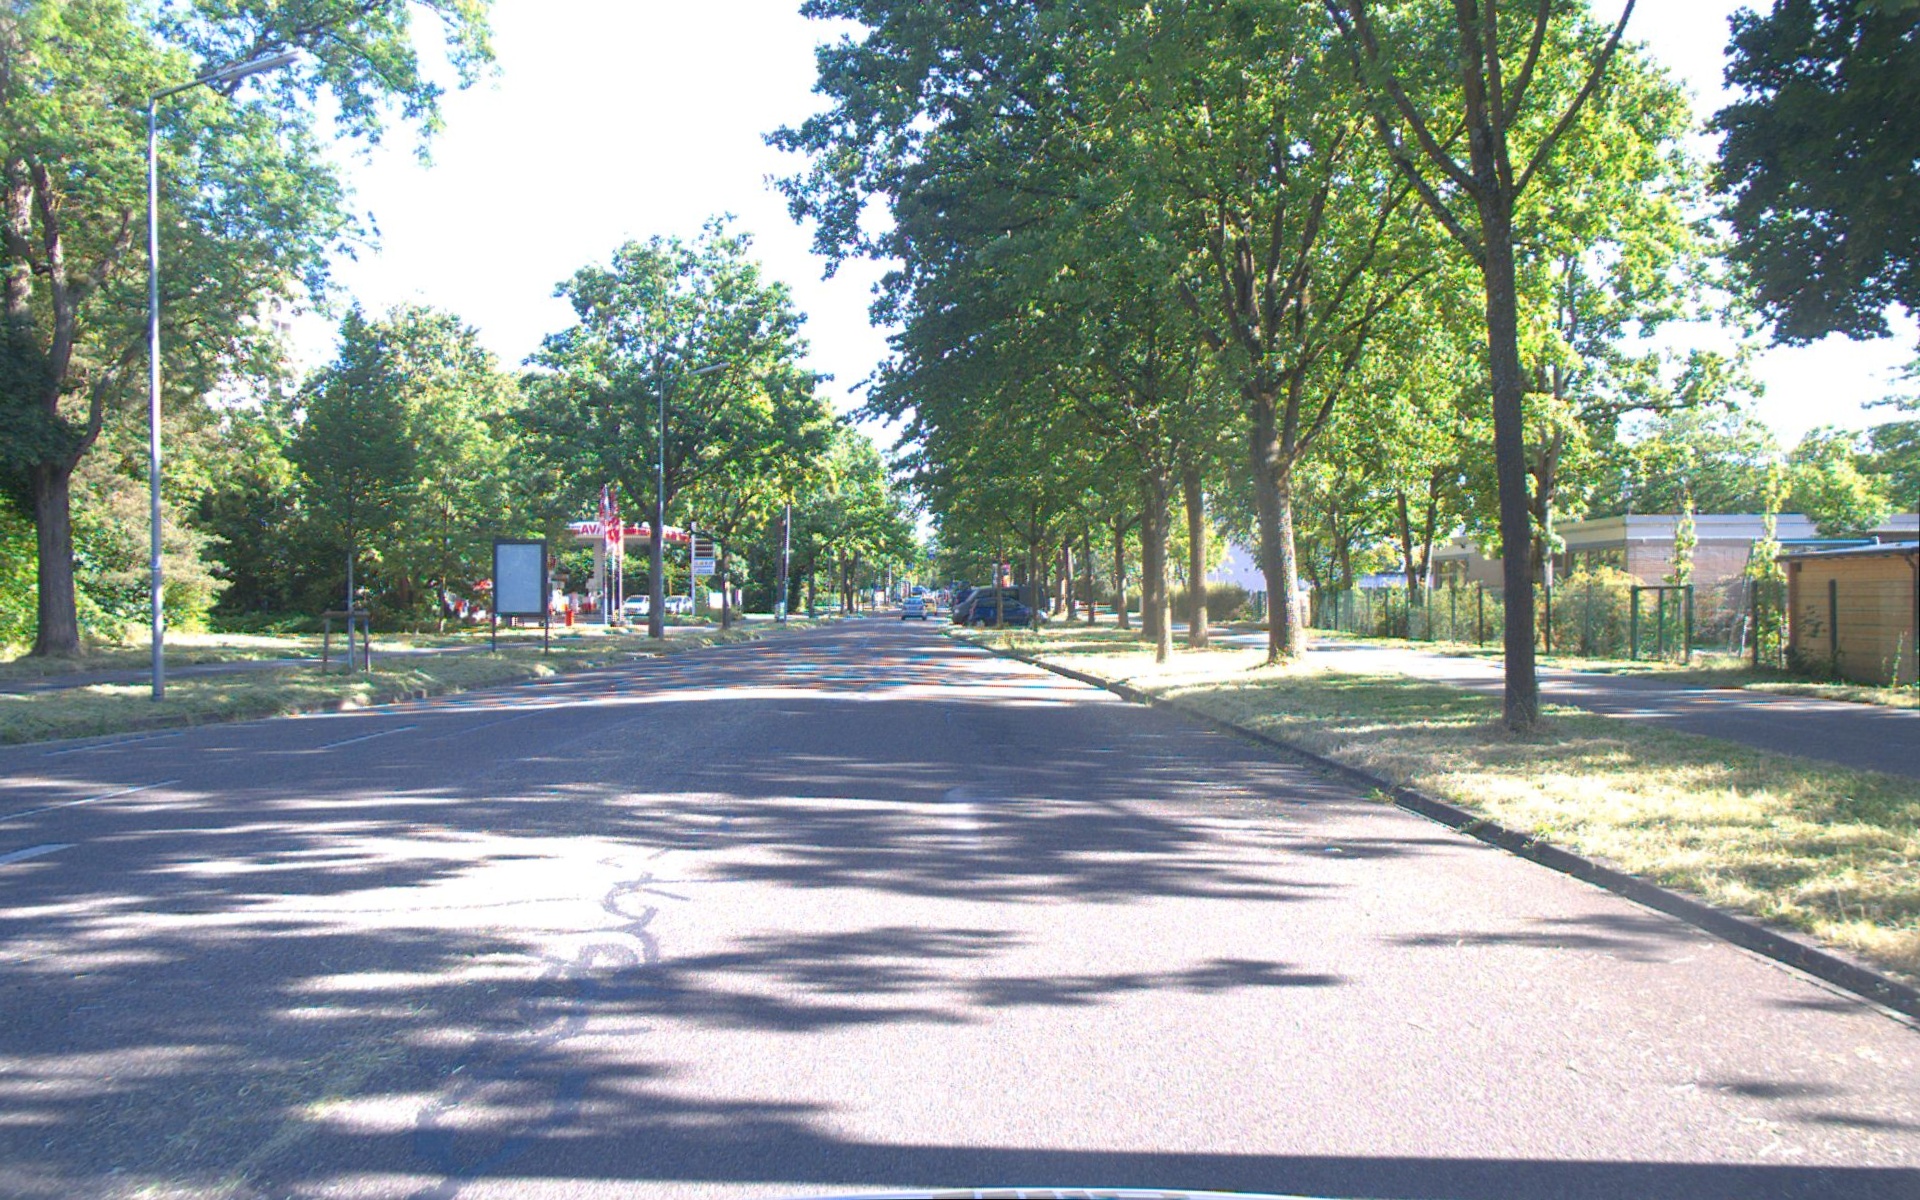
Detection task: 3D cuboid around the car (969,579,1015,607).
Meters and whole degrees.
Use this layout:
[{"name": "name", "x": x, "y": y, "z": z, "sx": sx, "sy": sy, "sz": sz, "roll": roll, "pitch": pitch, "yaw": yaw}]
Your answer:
[{"name": "car", "x": 2.461, "y": -0.524, "z": 127.739, "sx": 3.495, "sy": 2.087, "sz": 1.632, "roll": -1, "pitch": -2, "yaw": -2}]

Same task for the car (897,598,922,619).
[{"name": "car", "x": -3.488, "y": 0.573, "z": 113.956, "sx": 1.627, "sy": 1.360, "sz": 3.663, "roll": -1, "pitch": -1, "yaw": -2}]

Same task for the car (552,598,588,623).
[{"name": "car", "x": -27.356, "y": 0.773, "z": 116.040, "sx": 1.765, "sy": 1.649, "sz": 3.803, "roll": -1, "pitch": -1, "yaw": -2}]

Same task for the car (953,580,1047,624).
[{"name": "car", "x": 1.884, "y": 0.111, "z": 79.124, "sx": 4.411, "sy": 1.987, "sz": 1.687, "roll": -1, "pitch": -1, "yaw": -2}]

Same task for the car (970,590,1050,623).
[{"name": "car", "x": 2.281, "y": 0.308, "z": 76.152, "sx": 3.579, "sy": 1.423, "sz": 1.317, "roll": -1, "pitch": -1, "yaw": -2}]

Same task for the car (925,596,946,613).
[{"name": "car", "x": -2.065, "y": 0.367, "z": 137.663, "sx": 1.627, "sy": 1.360, "sz": 3.663, "roll": -1, "pitch": -1, "yaw": -2}]

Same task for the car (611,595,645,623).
[{"name": "car", "x": -22.774, "y": 0.642, "z": 113.591, "sx": 1.765, "sy": 1.855, "sz": 3.802, "roll": -1, "pitch": -1, "yaw": -3}]

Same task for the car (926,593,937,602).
[{"name": "car", "x": -4.399, "y": -0.355, "z": 257.943, "sx": 1.627, "sy": 1.360, "sz": 3.663, "roll": -1, "pitch": -1, "yaw": -2}]

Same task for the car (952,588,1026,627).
[{"name": "car", "x": 1.427, "y": 0.389, "z": 81.596, "sx": 3.579, "sy": 1.829, "sz": 1.317, "roll": -1, "pitch": -1, "yaw": -2}]
